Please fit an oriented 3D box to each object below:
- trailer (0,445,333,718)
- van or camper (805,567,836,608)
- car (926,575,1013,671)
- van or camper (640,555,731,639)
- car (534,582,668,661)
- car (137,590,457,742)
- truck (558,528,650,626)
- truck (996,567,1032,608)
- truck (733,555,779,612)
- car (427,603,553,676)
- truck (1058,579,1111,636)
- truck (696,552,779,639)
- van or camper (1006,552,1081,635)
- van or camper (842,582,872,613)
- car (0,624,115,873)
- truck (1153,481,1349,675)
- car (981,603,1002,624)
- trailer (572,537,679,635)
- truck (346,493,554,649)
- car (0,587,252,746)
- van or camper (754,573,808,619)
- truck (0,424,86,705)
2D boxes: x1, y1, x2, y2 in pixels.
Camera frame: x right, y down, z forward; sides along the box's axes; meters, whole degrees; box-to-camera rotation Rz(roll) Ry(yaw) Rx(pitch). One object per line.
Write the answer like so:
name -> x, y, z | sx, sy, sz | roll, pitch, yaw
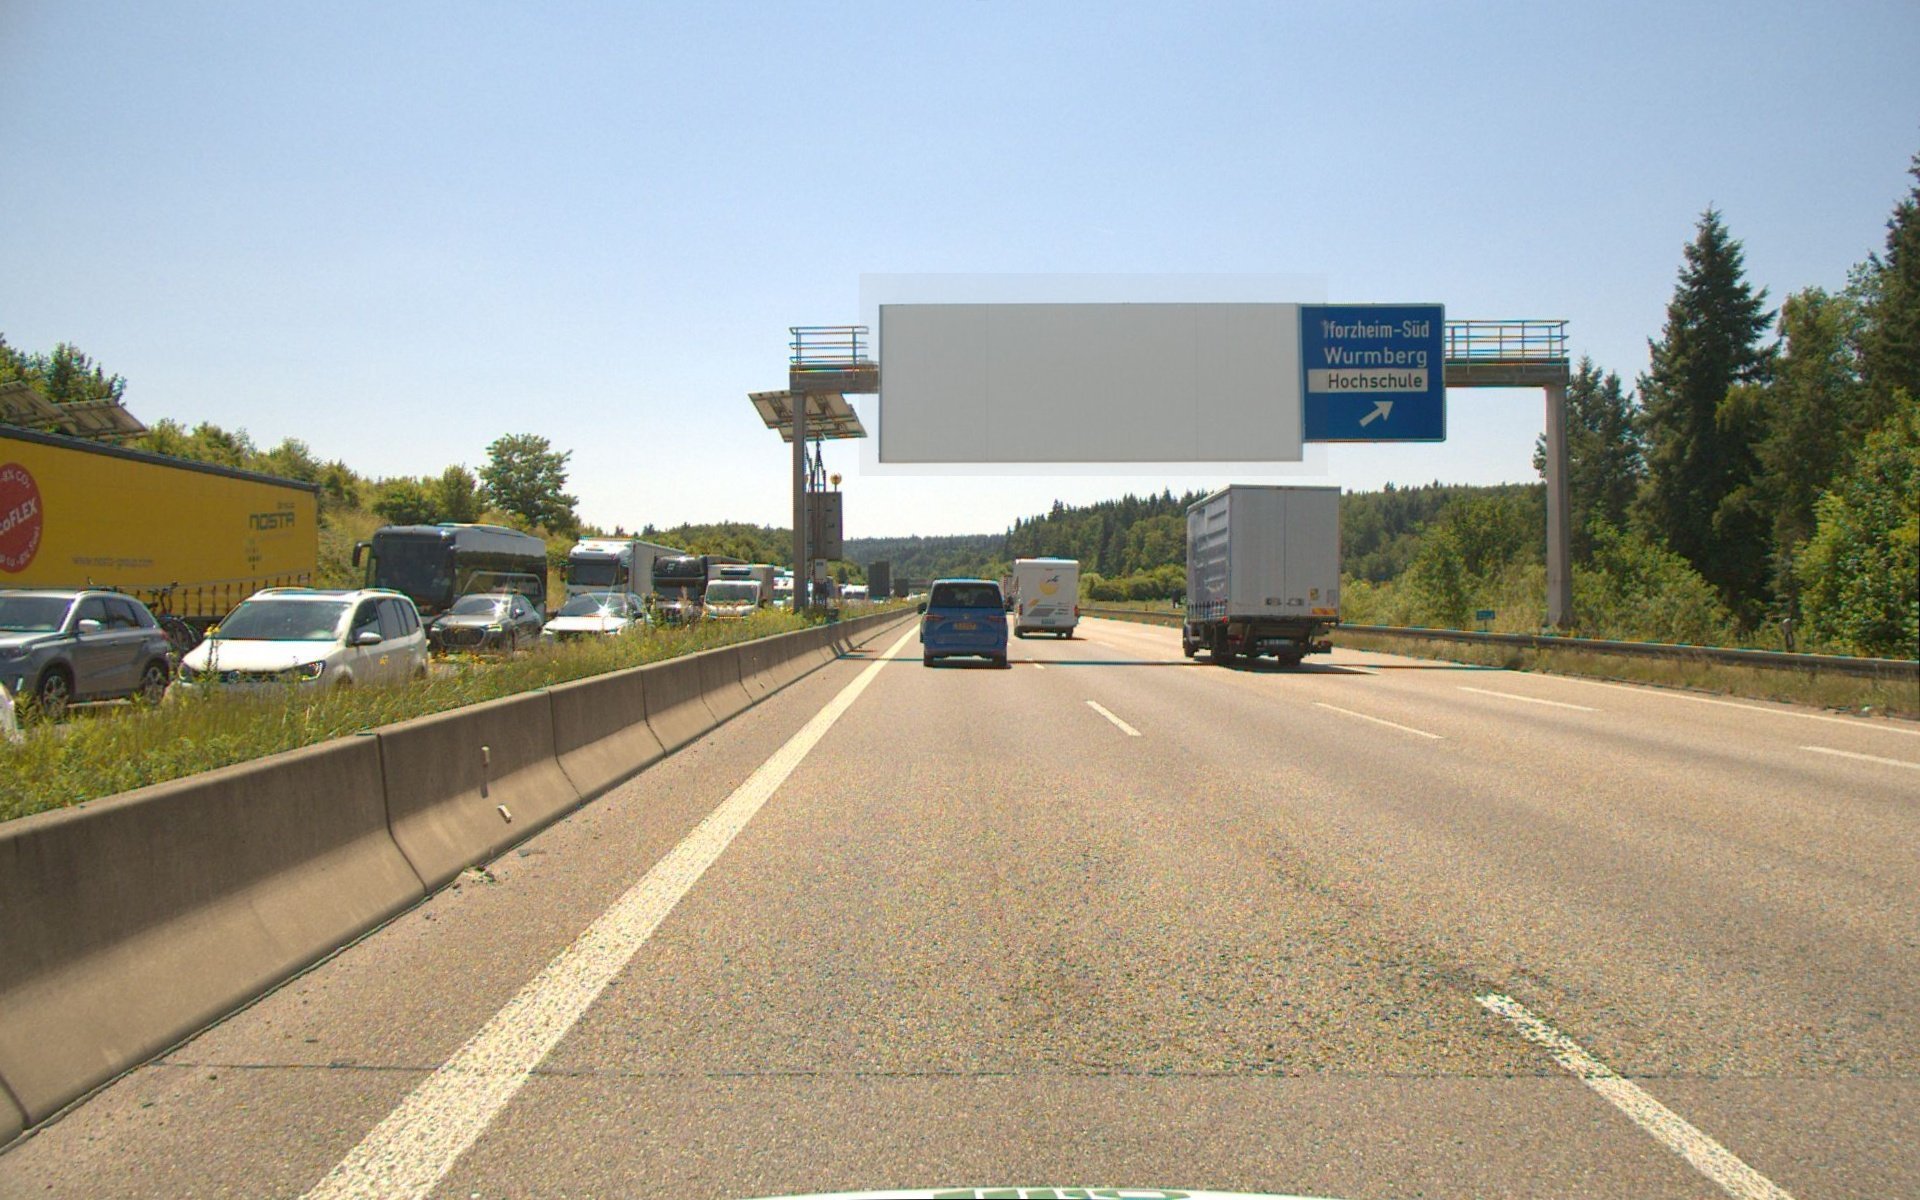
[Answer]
trailer -> -15.504, -0.246, 31.574 | 2.596, 4.217, 11.853 | 1, -1, -1
van or camper -> -12.271, -1.056, 145.881 | 2.266, 3.449, 7.678 | 0, -1, -1
car -> 0.170, 0.509, 37.419 | 1.870, 2.049, 3.999 | 0, -1, -1
van or camper -> -11.929, -0.094, 72.491 | 2.477, 3.418, 7.943 | 1, -1, 1
car -> -7.658, 0.459, 35.754 | 1.774, 1.539, 5.029 | 1, -1, 0
car -> -7.639, 0.710, 19.666 | 1.774, 1.539, 5.029 | 1, -1, 0
truck -> -15.957, -0.953, 74.622 | 2.725, 4.186, 7.027 | 0, -1, -1
truck -> 5.741, -1.306, 177.583 | 3.416, 4.243, 8.640 | 1, -1, 0
truck -> -15.810, -1.223, 128.651 | 2.744, 4.200, 6.140 | 1, -1, 0
car -> -11.283, 0.920, 40.003 | 1.739, 1.641, 4.557 | 1, -1, 0
truck -> 8.327, 0.455, 111.413 | 2.868, 3.637, 8.526 | -1, 1, 0
truck -> -7.843, -0.105, 58.870 | 2.077, 2.891, 6.211 | 1, -1, 0
van or camper -> 3.280, -0.285, 66.333 | 2.550, 3.132, 7.181 | 1, 1, 0
van or camper -> -8.648, -0.193, 139.365 | 2.148, 2.585, 6.415 | 0, -1, -1
car -> -6.865, 0.910, 9.267 | 1.774, 1.539, 4.817 | 1, -1, 0
truck -> 6.977, -0.433, 41.269 | 2.727, 4.201, 9.734 | 1, -1, -2
car -> 2.781, 1.181, 146.648 | 1.781, 1.825, 3.893 | 1, -1, -1
trailer -> -15.917, -0.551, 79.653 | 2.724, 4.380, 11.709 | 0, -1, 0
truck -> -15.636, -0.756, 51.845 | 2.994, 4.295, 11.485 | 1, -1, -1
car -> -11.399, 0.761, 21.507 | 1.824, 1.783, 5.900 | 1, -1, 0
van or camper -> -12.234, -0.204, 113.517 | 2.783, 3.000, 8.111 | 1, -1, 0
truck -> -15.415, -0.556, 23.551 | 2.549, 4.136, 6.133 | 1, -1, 0
